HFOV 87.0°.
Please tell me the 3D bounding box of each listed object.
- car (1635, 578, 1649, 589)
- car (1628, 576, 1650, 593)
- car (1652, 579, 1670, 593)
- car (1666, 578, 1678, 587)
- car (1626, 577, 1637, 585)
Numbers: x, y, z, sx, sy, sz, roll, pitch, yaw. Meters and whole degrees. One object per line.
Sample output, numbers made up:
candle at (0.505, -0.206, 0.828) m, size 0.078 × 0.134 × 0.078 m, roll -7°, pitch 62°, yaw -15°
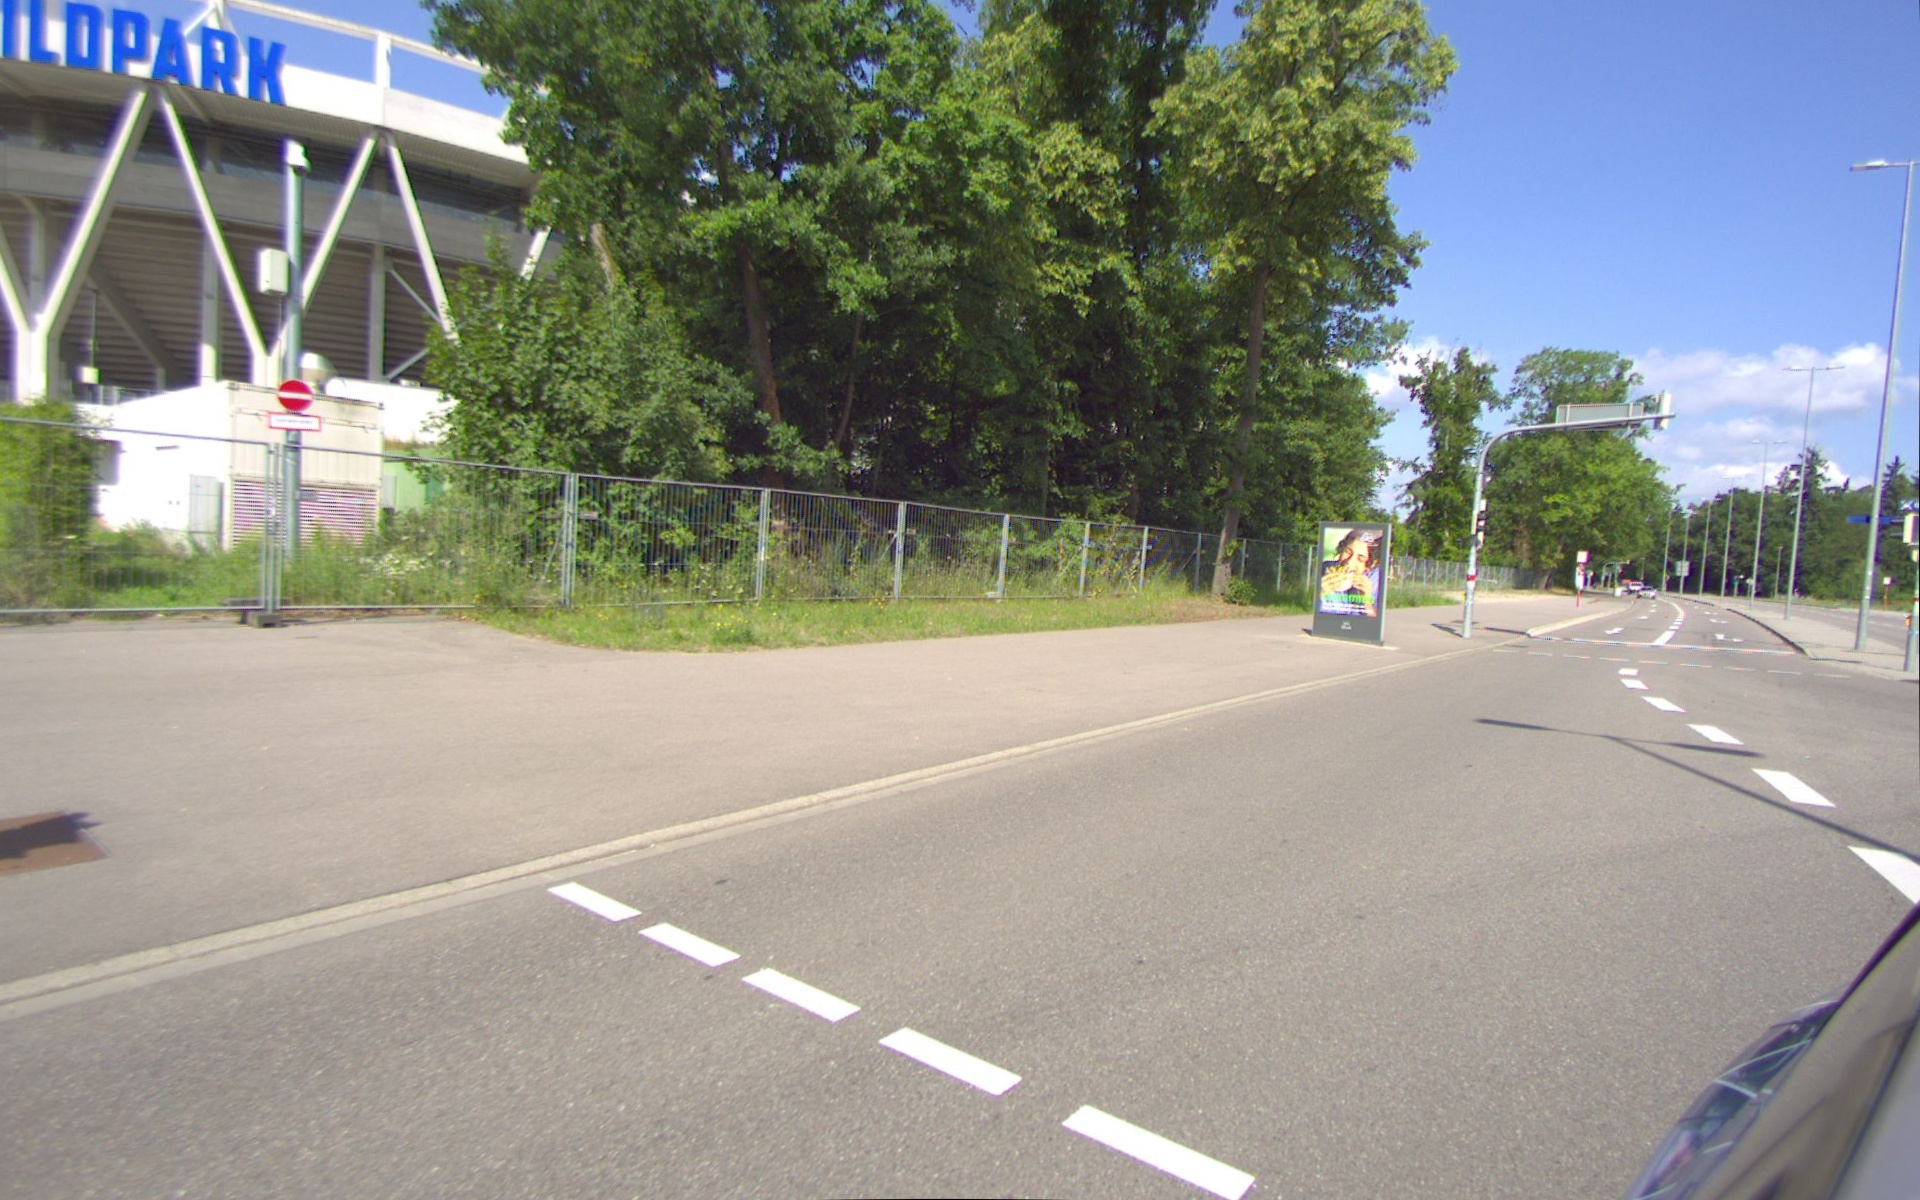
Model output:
car at (103.699, -2.486, 153.879) m, size 1.571 × 1.497 × 3.526 m, roll 4°, pitch 3°, yaw 35°
car at (63.608, -1.496, 94.824) m, size 1.571 × 1.497 × 3.526 m, roll 4°, pitch 3°, yaw 35°
car at (83.725, -1.700, 120.901) m, size 1.570 × 1.497 × 3.529 m, roll 4°, pitch 3°, yaw 33°
car at (120.870, -2.940, 171.750) m, size 1.571 × 1.497 × 3.526 m, roll 4°, pitch 3°, yaw 35°
car at (128.601, -3.632, 193.825) m, size 1.571 × 1.497 × 3.526 m, roll 4°, pitch 3°, yaw 35°
